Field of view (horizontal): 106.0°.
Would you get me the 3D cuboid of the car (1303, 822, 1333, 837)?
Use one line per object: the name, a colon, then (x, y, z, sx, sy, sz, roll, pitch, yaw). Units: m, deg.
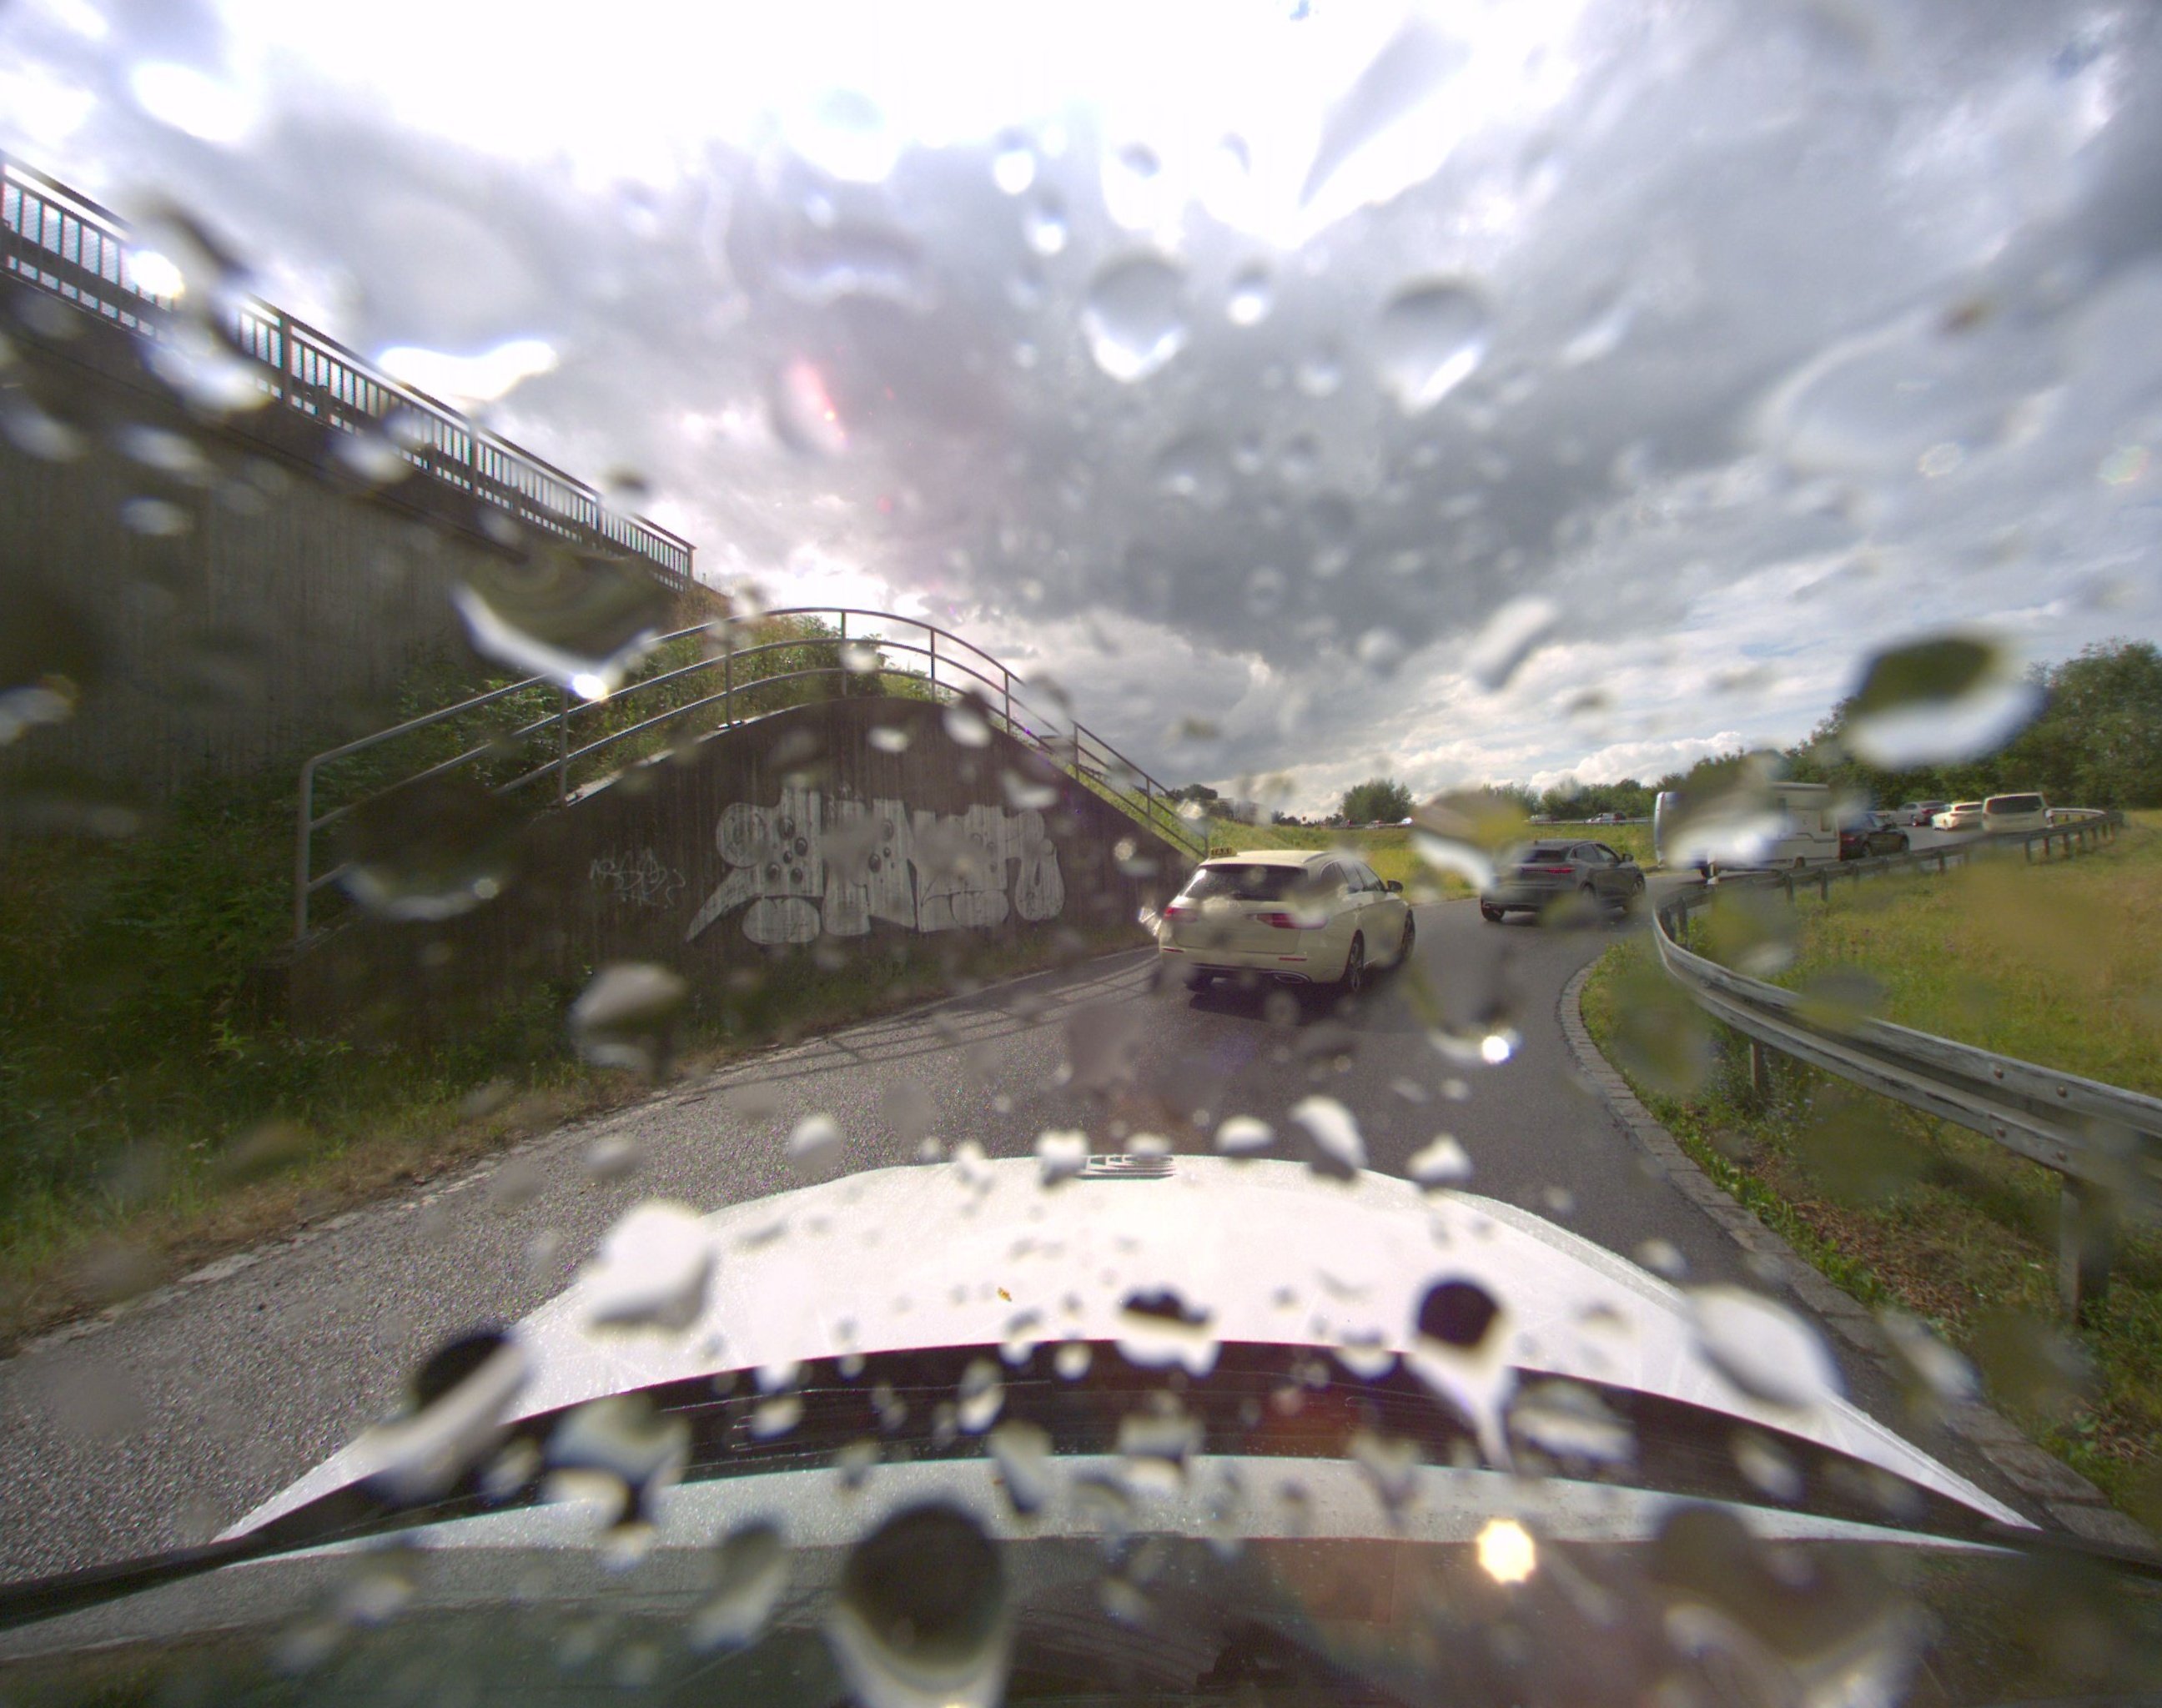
car: (33.810, -3.472, 116.134, 3.956, 2.014, 1.835, -1, -2, 17)

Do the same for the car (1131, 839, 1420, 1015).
car: (2.531, 0.624, 9.506, 1.897, 1.507, 4.625, -2, 0, 31)

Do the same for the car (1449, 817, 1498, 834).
car: (48.269, -3.501, 100.255, 2.008, 1.861, 5.003, -1, -1, -34)

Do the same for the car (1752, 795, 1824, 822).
car: (57.279, -3.627, 66.144, 1.653, 1.784, 5.062, -2, -1, 4)

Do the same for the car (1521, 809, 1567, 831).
car: (52.637, -3.835, 92.658, 2.003, 2.014, 3.966, 0, -4, -25)

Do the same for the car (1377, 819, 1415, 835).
car: (44.238, -3.753, 114.425, 2.004, 1.861, 5.014, -2, -1, -25)

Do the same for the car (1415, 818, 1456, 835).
car: (46.333, -3.577, 106.558, 2.011, 1.861, 4.456, -1, -1, -41)

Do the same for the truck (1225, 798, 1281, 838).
truck: (25.852, -5.080, 121.066, 4.421, 4.504, 19.479, -1, -2, 23)

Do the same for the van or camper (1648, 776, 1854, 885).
van or camper: (18.901, -0.686, 22.917, 6.018, 2.729, 2.416, -2, 1, -29)

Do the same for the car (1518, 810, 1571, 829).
car: (53.032, -3.922, 93.256, 2.003, 1.861, 5.015, -2, -1, -25)

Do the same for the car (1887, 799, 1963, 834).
car: (52.797, -2.295, 51.059, 1.974, 1.861, 5.089, -3, -1, 31)

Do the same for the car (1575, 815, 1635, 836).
car: (55.136, -2.968, 85.830, 2.002, 1.861, 5.017, -2, -1, -23)

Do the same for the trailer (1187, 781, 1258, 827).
trailer: (18.277, -6.061, 103.018, 4.374, 3.956, 20.326, -1, -2, 23)

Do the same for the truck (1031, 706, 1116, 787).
truck: (-0.301, -7.074, 55.496, 3.155, 3.967, 9.276, -1, -2, 17)

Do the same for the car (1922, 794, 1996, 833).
car: (47.546, -2.123, 44.205, 1.974, 1.861, 5.089, -2, 0, 39)

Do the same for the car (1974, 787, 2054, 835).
car: (40.540, -1.818, 35.340, 5.082, 1.861, 1.977, -1, -1, -38)

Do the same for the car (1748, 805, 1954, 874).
car: (23.928, -0.483, 25.308, 5.762, 1.925, 2.419, -2, 1, -21)

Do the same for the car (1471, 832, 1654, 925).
car: (9.226, 0.394, 15.485, 4.020, 1.525, 1.703, -2, 0, -40)
